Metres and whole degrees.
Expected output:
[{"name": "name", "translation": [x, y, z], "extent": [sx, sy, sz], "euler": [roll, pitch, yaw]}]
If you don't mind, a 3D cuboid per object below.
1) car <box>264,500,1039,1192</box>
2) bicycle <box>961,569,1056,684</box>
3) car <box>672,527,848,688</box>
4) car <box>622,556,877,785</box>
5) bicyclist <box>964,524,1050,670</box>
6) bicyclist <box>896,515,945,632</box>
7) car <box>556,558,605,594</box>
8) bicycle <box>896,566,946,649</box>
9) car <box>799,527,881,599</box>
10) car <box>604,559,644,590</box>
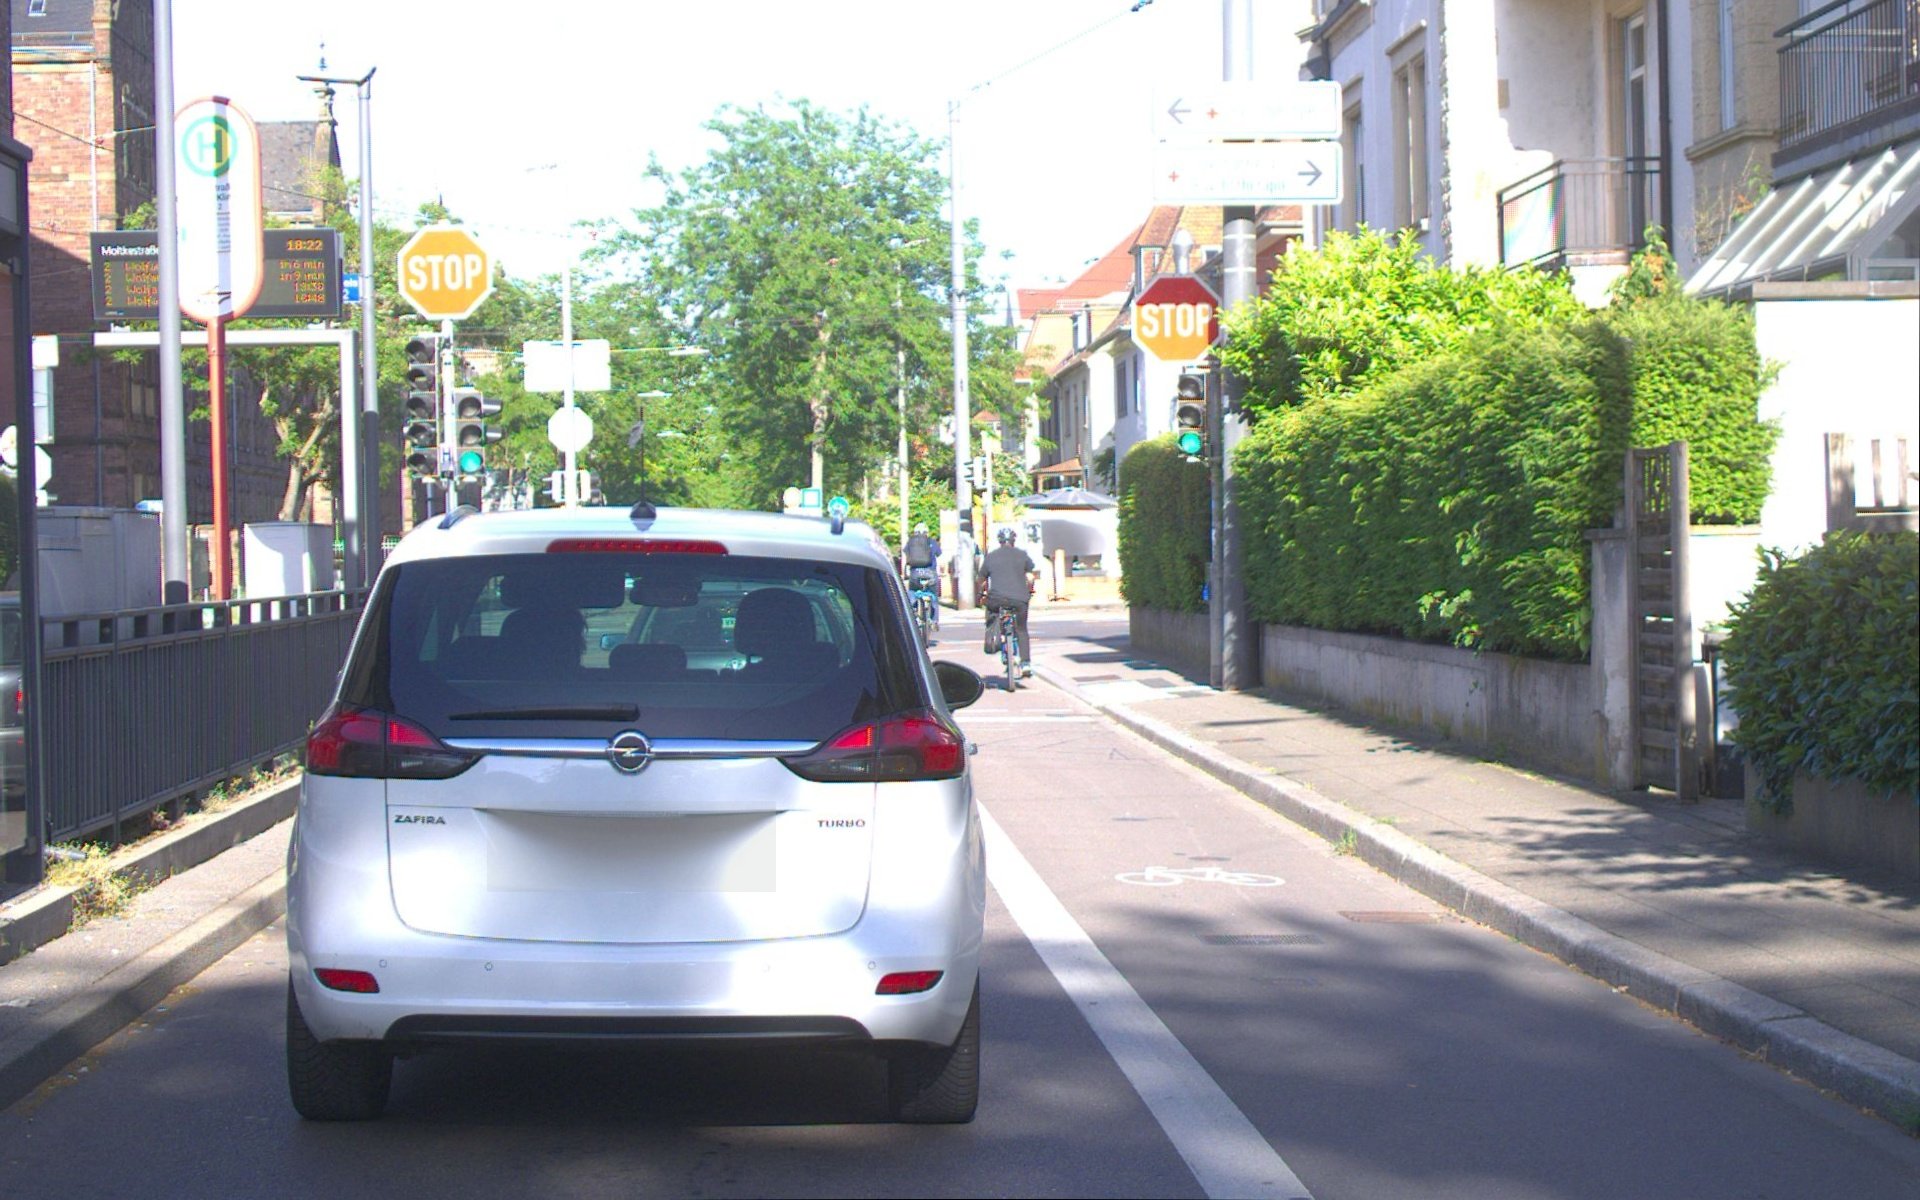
[{"name": "car", "translation": [-0.807, 0.567, 10.171], "extent": [1.835, 1.636, 3.919], "euler": [0, 1, -2]}, {"name": "bicycle", "translation": [0.493, 0.259, 35.896], "extent": [0.829, 1.150, 2.095], "euler": [0, 1, -3]}, {"name": "car", "translation": [-2.132, 0.055, 37.015], "extent": [1.776, 1.626, 3.881], "euler": [0, 1, -3]}, {"name": "car", "translation": [-1.413, 0.433, 24.286], "extent": [1.586, 1.415, 3.900], "euler": [-1, 1, -1]}, {"name": "bicyclist", "translation": [0.488, -0.039, 35.809], "extent": [0.821, 1.496, 0.934], "euler": [0, 0, -3]}, {"name": "bicyclist", "translation": [-0.556, -0.377, 48.600], "extent": [0.685, 1.629, 1.015], "euler": [0, 0, 0]}, {"name": "car", "translation": [-15.269, -0.965, 138.346], "extent": [1.581, 1.436, 3.584], "euler": [0, 1, -1]}, {"name": "bicycle", "translation": [-0.546, 0.095, 48.590], "extent": [0.685, 1.153, 1.619], "euler": [0, 1, 0]}, {"name": "car", "translation": [-2.759, -0.854, 79.698], "extent": [1.776, 1.626, 3.881], "euler": [0, 1, 0]}, {"name": "car", "translation": [-15.852, -1.203, 162.210], "extent": [1.581, 1.436, 3.584], "euler": [0, 1, -1]}]
